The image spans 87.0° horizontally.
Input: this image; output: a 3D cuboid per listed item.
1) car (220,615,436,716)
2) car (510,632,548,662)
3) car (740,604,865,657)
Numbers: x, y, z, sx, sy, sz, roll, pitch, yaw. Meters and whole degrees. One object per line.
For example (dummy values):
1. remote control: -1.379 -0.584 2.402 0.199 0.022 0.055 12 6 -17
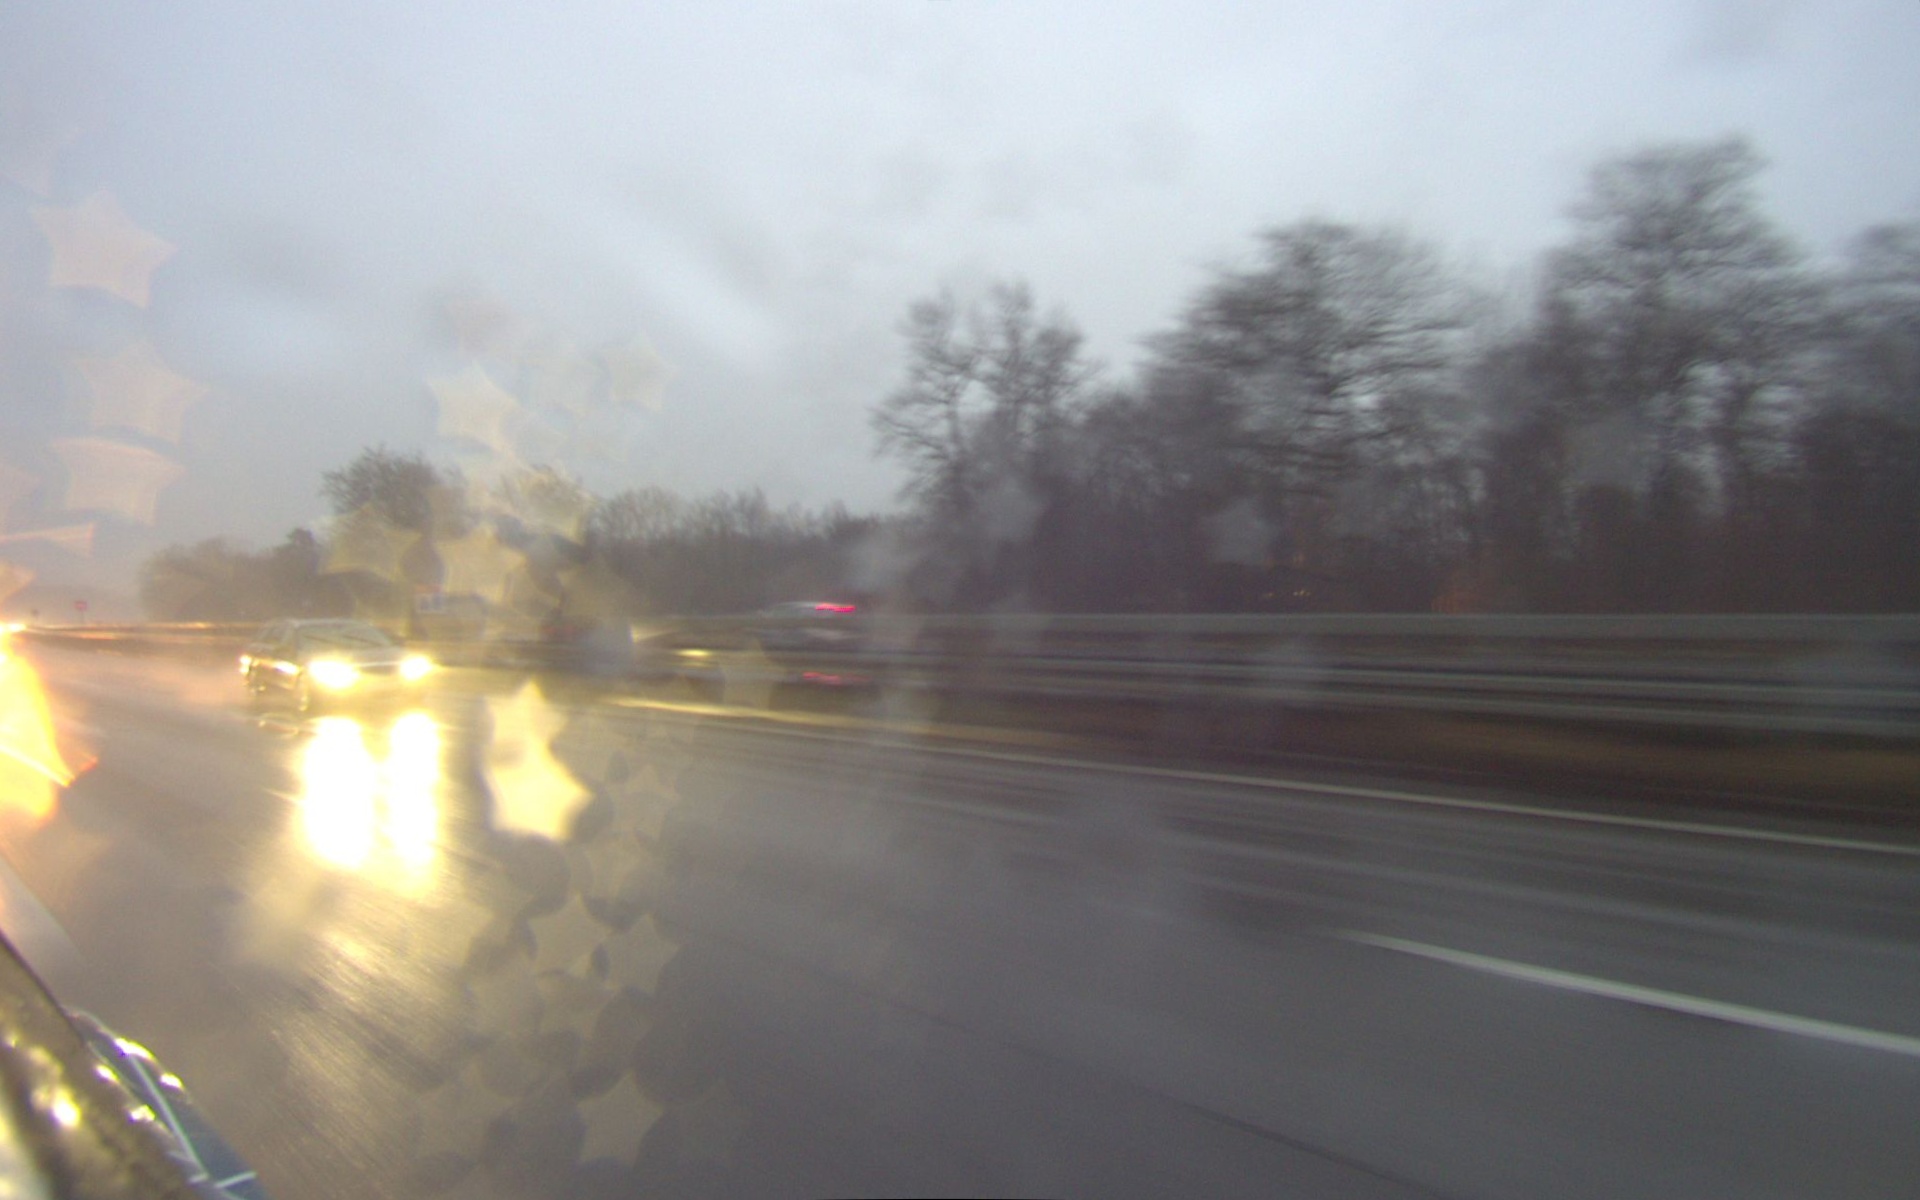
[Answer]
1. car: -11.041 1.077 17.553 4.407 1.479 1.781 -2 0 38
2. car: -26.038 2.784 61.238 1.719 1.498 4.443 -3 1 -19
3. car: -4.966 0.948 31.698 3.999 1.498 1.725 -2 0 42
